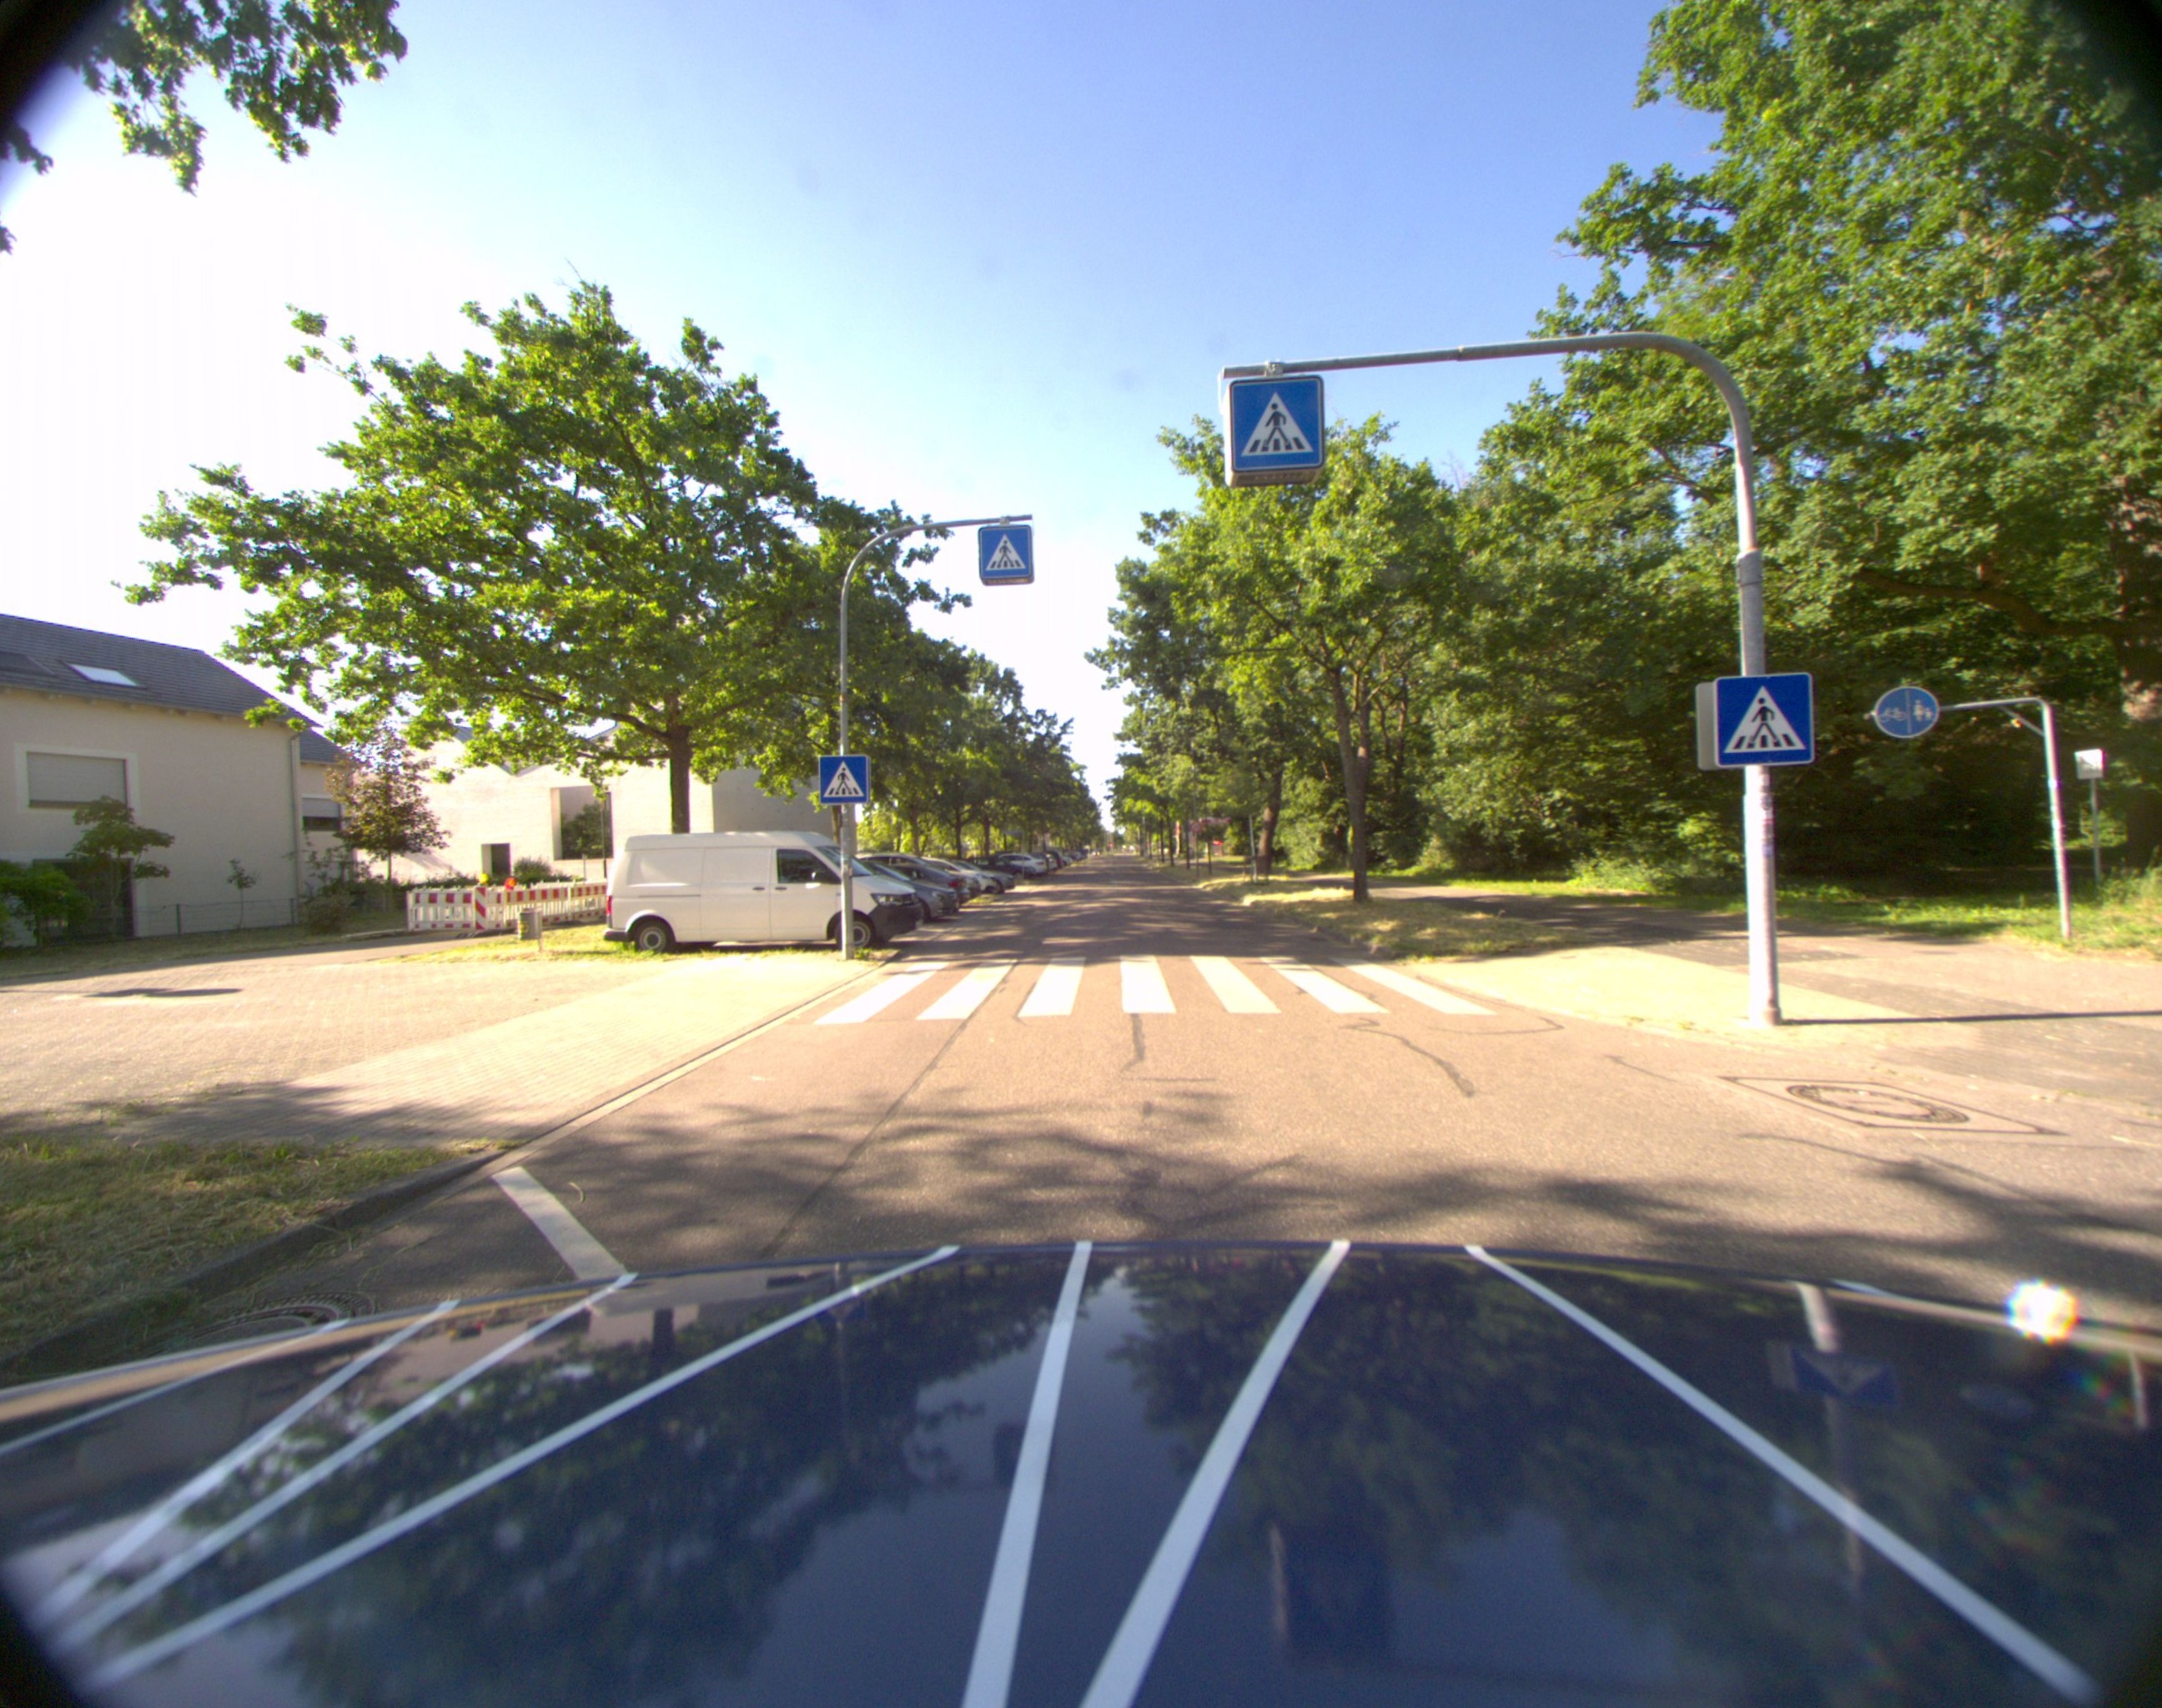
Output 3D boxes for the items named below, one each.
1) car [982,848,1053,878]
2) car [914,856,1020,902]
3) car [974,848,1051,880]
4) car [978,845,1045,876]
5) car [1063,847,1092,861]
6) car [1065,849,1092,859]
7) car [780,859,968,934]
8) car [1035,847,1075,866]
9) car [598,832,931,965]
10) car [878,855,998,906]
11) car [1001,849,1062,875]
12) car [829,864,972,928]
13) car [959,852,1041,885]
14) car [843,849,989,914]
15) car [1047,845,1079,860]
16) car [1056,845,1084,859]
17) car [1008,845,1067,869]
[{"bbox_3d":[-4.180,0.577,50.428,4.394,1.733,1.533,-3,1,4],"label":"car"},{"bbox_3d":[-4.644,1.022,31.221,4.018,1.650,1.533,-3,1,4],"label":"car"},{"bbox_3d":[-4.132,0.614,46.351,4.394,1.733,1.533,-3,1,4],"label":"car"},{"bbox_3d":[-4.902,0.444,53.803,4.394,1.977,1.533,-3,1,4],"label":"car"},{"bbox_3d":[-0.471,0.011,112.434,4.151,1.838,1.949,-3,1,3],"label":"car"},{"bbox_3d":[-0.391,-0.075,122.520,4.151,1.401,1.800,-3,1,3],"label":"car"},{"bbox_3d":[-4.959,0.996,18.539,3.996,1.554,1.758,-3,1,4],"label":"car"},{"bbox_3d":[-2.699,0.263,80.252,3.996,1.838,1.863,-3,1,3],"label":"car"},{"bbox_3d":[-5.405,0.733,13.442,5.045,2.069,1.891,-1,1,2],"label":"car"},{"bbox_3d":[-5.268,0.966,28.248,4.018,1.669,1.533,-3,1,4],"label":"car"},{"bbox_3d":[-3.753,0.590,57.697,4.394,1.733,1.533,-3,1,4],"label":"car"},{"bbox_3d":[-4.963,1.143,21.091,3.515,1.533,1.448,-3,1,4],"label":"car"},{"bbox_3d":[-4.603,0.836,43.338,4.394,1.632,1.533,-3,1,4],"label":"car"},{"bbox_3d":[-5.054,0.821,23.637,4.018,1.783,1.713,-3,1,4],"label":"car"},{"bbox_3d":[-2.370,-0.175,101.184,4.151,1.838,1.949,-3,1,3],"label":"car"},{"bbox_3d":[-1.733,-0.304,117.534,4.151,1.838,1.949,-3,1,3],"label":"car"},{"bbox_3d":[-3.444,0.222,60.316,4.394,1.733,1.533,-3,1,4],"label":"car"}]
